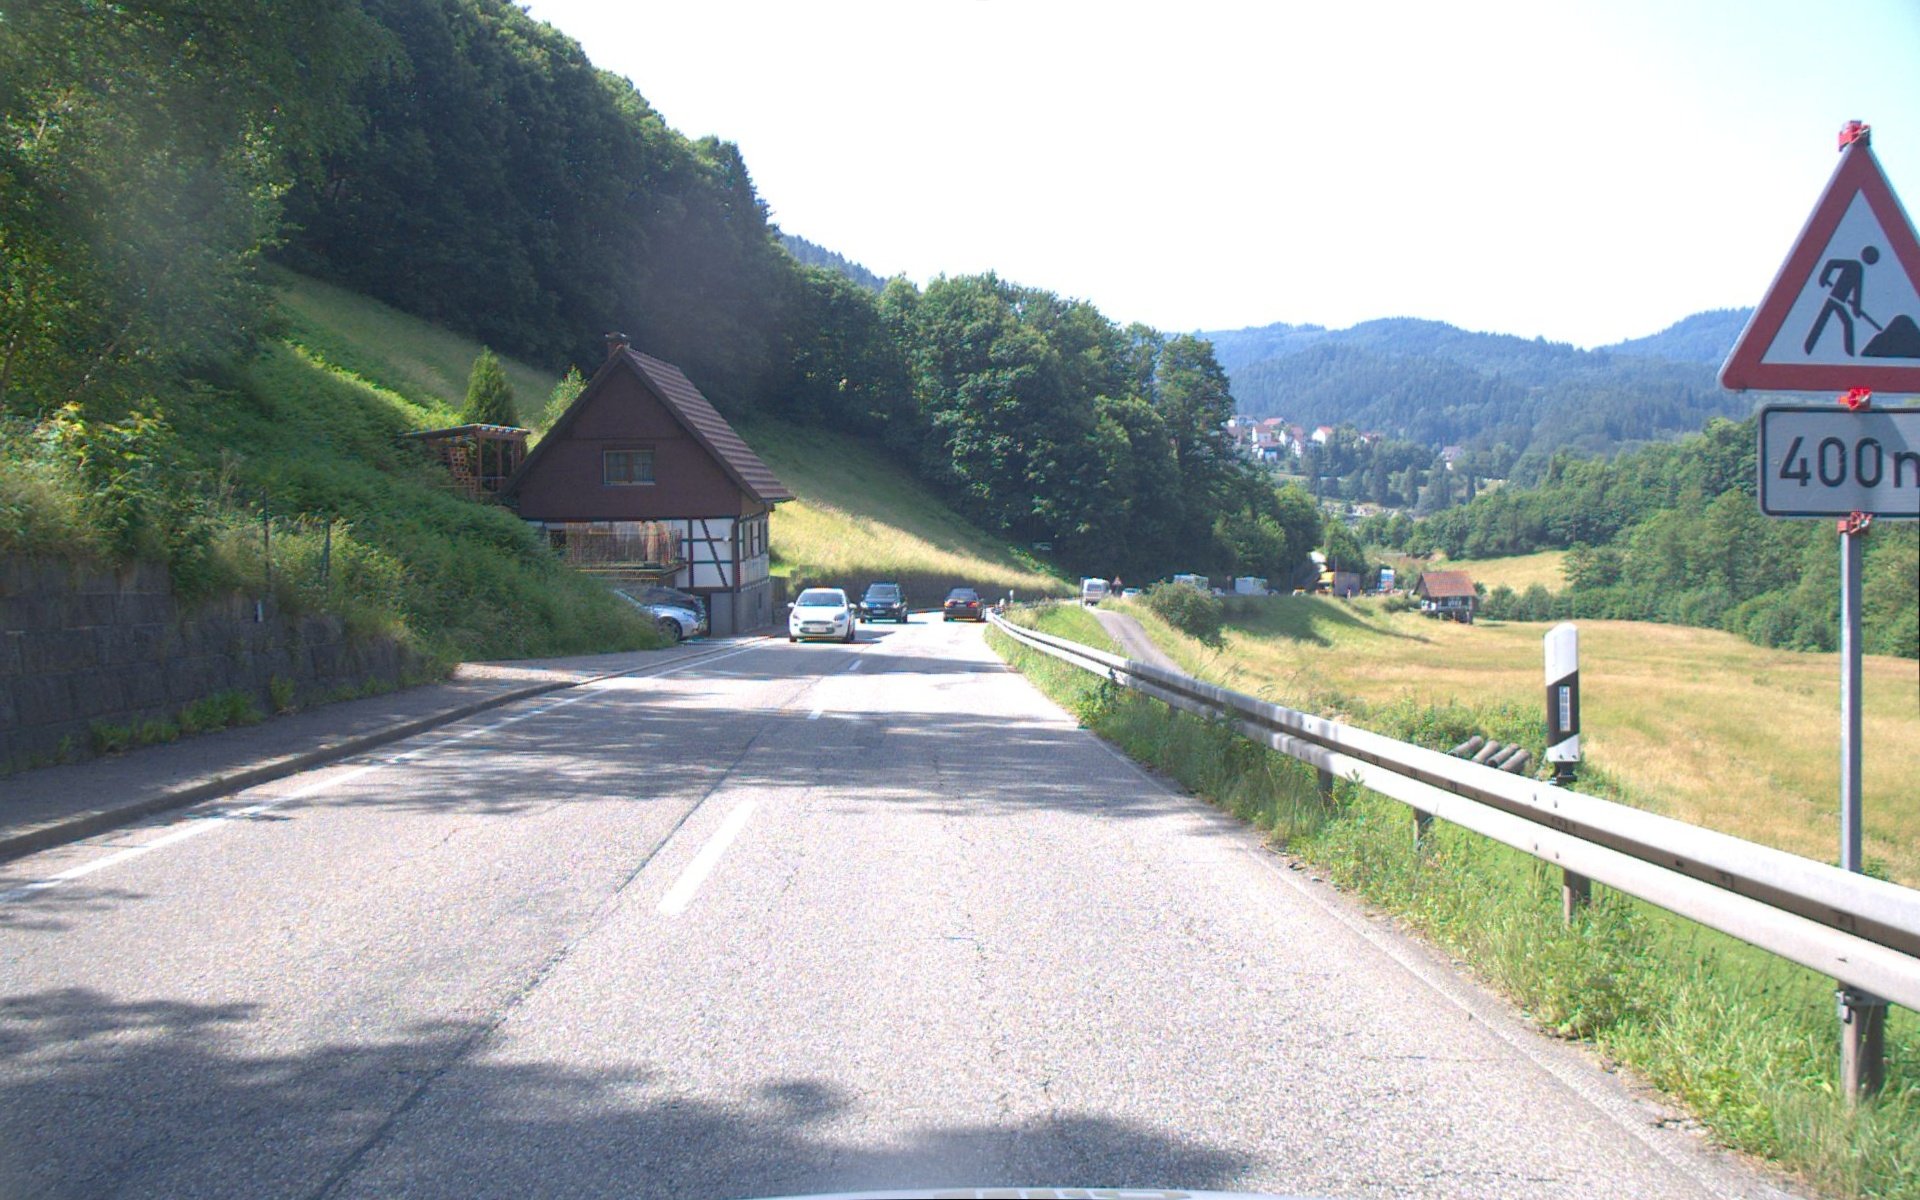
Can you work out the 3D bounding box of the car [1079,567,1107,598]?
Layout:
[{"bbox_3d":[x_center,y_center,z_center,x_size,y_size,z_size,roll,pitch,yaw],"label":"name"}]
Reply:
[{"bbox_3d":[11.355,-1.513,140.605,1.951,2.393,4.919,2,2,8],"label":"car"}]

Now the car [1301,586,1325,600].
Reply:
[{"bbox_3d":[47.102,-0.907,220.522,1.873,1.511,3.991,7,2,30],"label":"car"}]

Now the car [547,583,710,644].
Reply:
[{"bbox_3d":[-8.403,0.321,42.173,3.737,1.441,1.858,1,1,2],"label":"car"}]

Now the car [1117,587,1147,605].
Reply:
[{"bbox_3d":[16.729,-0.430,160.755,1.953,1.509,4.002,4,3,19],"label":"car"}]

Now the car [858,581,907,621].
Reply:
[{"bbox_3d":[-3.304,0.045,71.101,1.850,1.674,4.258,0,0,1],"label":"car"}]

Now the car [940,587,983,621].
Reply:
[{"bbox_3d":[0.109,0.169,75.963,1.734,1.358,3.769,2,2,3],"label":"car"}]

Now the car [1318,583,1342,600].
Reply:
[{"bbox_3d":[51.101,-1.157,228.639,1.958,1.958,3.991,6,0,30],"label":"car"}]

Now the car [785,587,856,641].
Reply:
[{"bbox_3d":[-3.879,0.392,46.637,1.741,1.462,3.999,0,0,-1],"label":"car"}]

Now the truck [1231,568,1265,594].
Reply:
[{"bbox_3d":[34.899,-2.244,200.076,2.194,2.852,6.224,3,0,27],"label":"truck"}]

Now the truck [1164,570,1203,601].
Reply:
[{"bbox_3d":[24.440,-1.607,180.353,2.734,3.049,6.871,4,3,19],"label":"truck"}]

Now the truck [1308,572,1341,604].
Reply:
[{"bbox_3d":[54.662,-1.810,248.041,3.127,4.472,6.564,3,2,27],"label":"truck"}]

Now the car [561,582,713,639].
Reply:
[{"bbox_3d":[-8.758,0.266,45.058,3.737,1.458,1.864,1,1,2],"label":"car"}]
